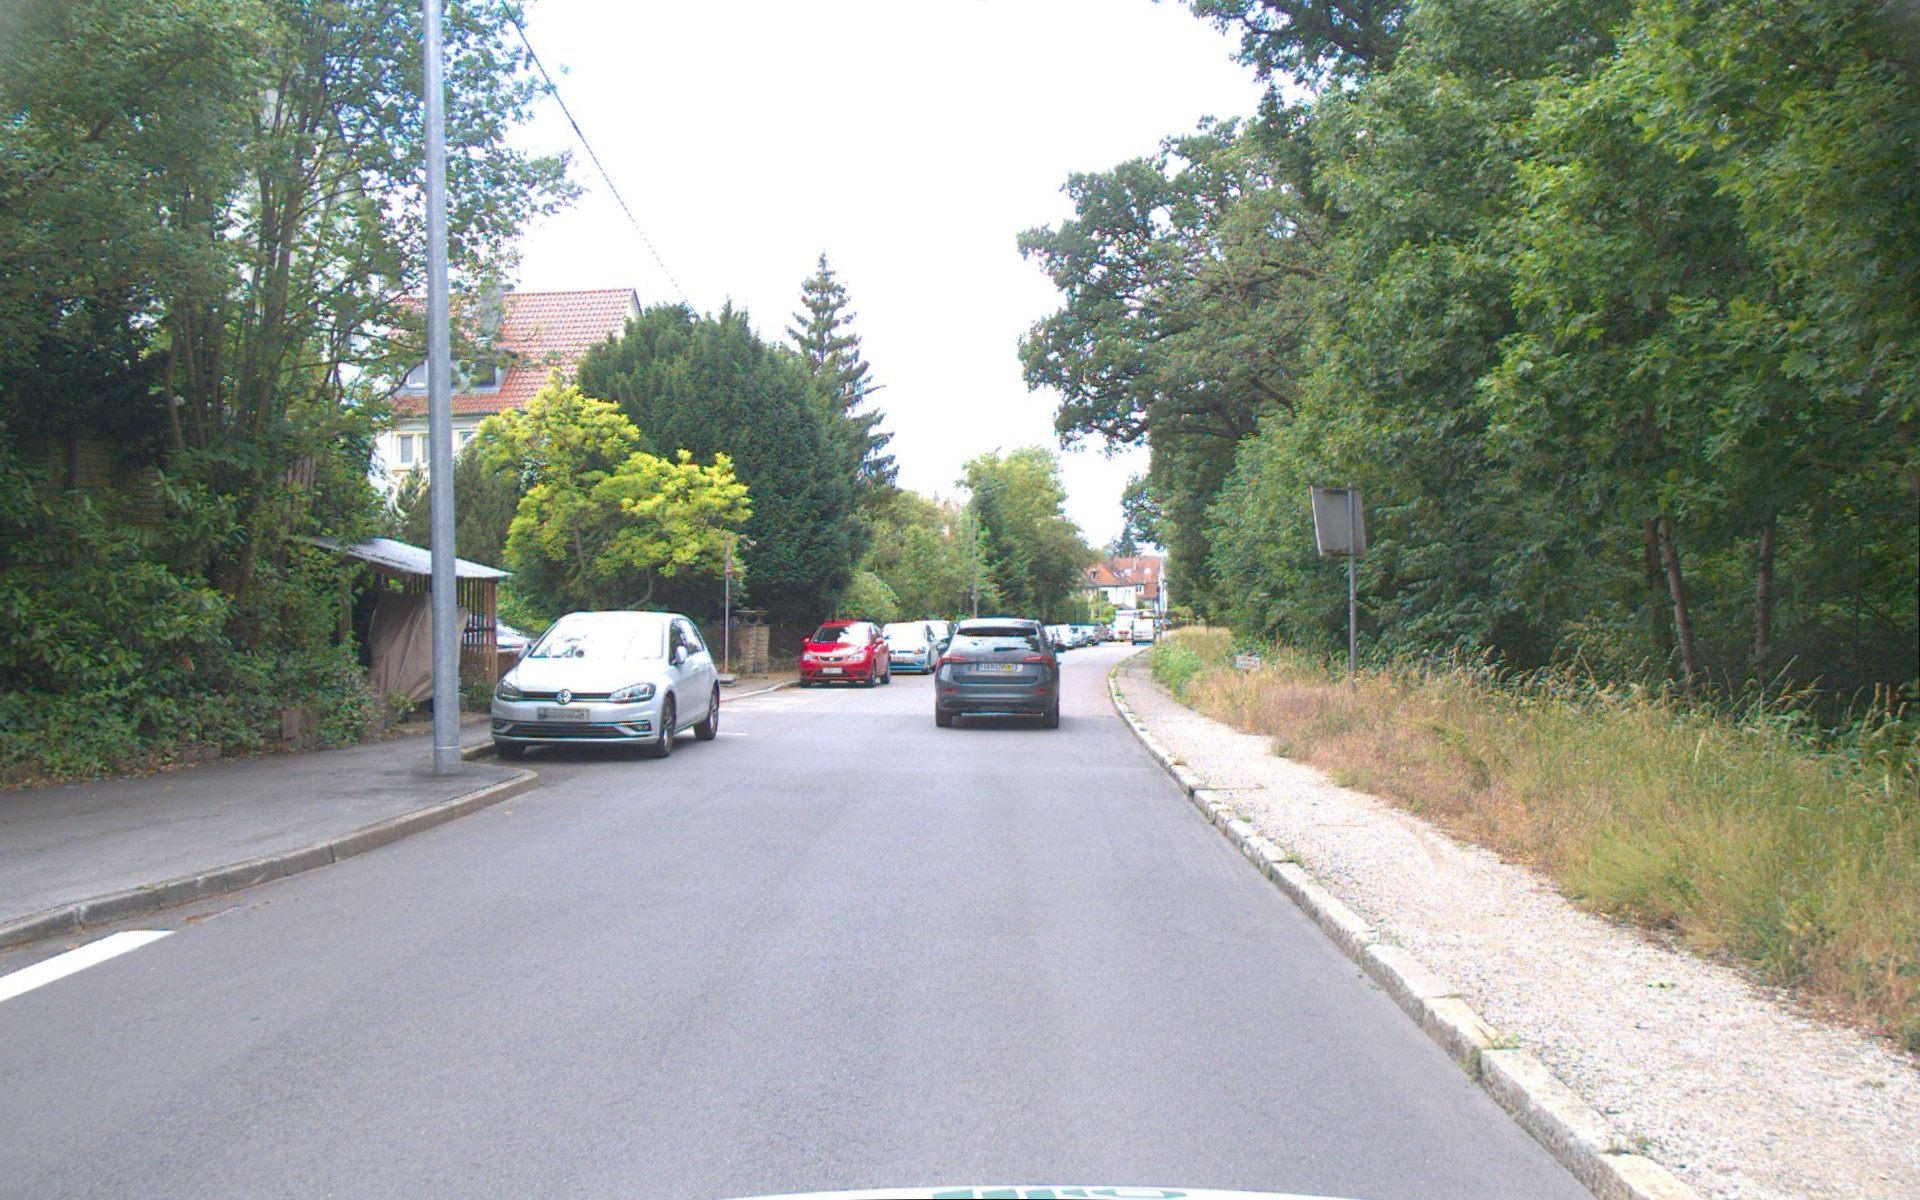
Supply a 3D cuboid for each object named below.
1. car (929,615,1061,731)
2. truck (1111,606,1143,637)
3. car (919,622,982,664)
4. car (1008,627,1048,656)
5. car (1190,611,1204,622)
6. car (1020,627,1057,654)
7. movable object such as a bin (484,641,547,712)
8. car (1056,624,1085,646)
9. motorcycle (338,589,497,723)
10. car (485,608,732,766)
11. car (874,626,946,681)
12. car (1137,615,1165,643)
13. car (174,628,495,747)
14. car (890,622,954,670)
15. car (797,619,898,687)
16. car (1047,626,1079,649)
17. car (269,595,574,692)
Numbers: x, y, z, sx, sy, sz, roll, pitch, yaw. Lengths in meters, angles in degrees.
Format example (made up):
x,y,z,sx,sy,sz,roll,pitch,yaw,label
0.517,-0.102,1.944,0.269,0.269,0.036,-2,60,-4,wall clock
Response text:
x,y,z,sx,sy,sz,roll,pitch,yaw,label
0.563,0.980,23.662,1.698,1.472,4.181,1,-1,3,car
15.695,1.961,155.052,2.704,2.843,9.275,0,0,8,truck
-0.307,1.521,59.576,1.712,1.429,4.003,1,-1,8,car
3.544,2.132,85.558,1.712,1.429,4.003,1,-1,8,car
32.341,2.204,225.765,1.698,1.472,4.002,1,-1,6,car
4.416,2.235,92.290,1.712,1.429,4.003,1,-1,8,car
-5.998,1.027,22.353,0.578,0.925,0.701,1,-1,8,movable object such as a bin
7.713,2.431,115.209,1.712,1.429,4.003,1,-1,8,car
-6.579,0.652,20.281,0.793,1.511,2.897,1,-1,4,motorcycle
-3.671,0.865,17.986,1.670,1.493,4.076,1,-1,2,car
-1.367,1.483,46.948,1.712,1.429,4.001,1,-1,3,car
14.837,2.213,128.322,2.159,2.100,6.139,0,0,7,car
-9.042,1.249,24.085,3.966,1.411,1.649,-3,0,2,car
-1.173,1.438,52.850,1.712,1.429,4.001,1,-1,3,car
-2.491,1.172,37.500,1.600,1.429,4.002,1,-1,6,car
6.527,2.373,104.958,1.712,1.429,4.003,1,-1,8,car
-8.869,0.704,27.468,4.386,1.466,1.880,1,-1,5,car
